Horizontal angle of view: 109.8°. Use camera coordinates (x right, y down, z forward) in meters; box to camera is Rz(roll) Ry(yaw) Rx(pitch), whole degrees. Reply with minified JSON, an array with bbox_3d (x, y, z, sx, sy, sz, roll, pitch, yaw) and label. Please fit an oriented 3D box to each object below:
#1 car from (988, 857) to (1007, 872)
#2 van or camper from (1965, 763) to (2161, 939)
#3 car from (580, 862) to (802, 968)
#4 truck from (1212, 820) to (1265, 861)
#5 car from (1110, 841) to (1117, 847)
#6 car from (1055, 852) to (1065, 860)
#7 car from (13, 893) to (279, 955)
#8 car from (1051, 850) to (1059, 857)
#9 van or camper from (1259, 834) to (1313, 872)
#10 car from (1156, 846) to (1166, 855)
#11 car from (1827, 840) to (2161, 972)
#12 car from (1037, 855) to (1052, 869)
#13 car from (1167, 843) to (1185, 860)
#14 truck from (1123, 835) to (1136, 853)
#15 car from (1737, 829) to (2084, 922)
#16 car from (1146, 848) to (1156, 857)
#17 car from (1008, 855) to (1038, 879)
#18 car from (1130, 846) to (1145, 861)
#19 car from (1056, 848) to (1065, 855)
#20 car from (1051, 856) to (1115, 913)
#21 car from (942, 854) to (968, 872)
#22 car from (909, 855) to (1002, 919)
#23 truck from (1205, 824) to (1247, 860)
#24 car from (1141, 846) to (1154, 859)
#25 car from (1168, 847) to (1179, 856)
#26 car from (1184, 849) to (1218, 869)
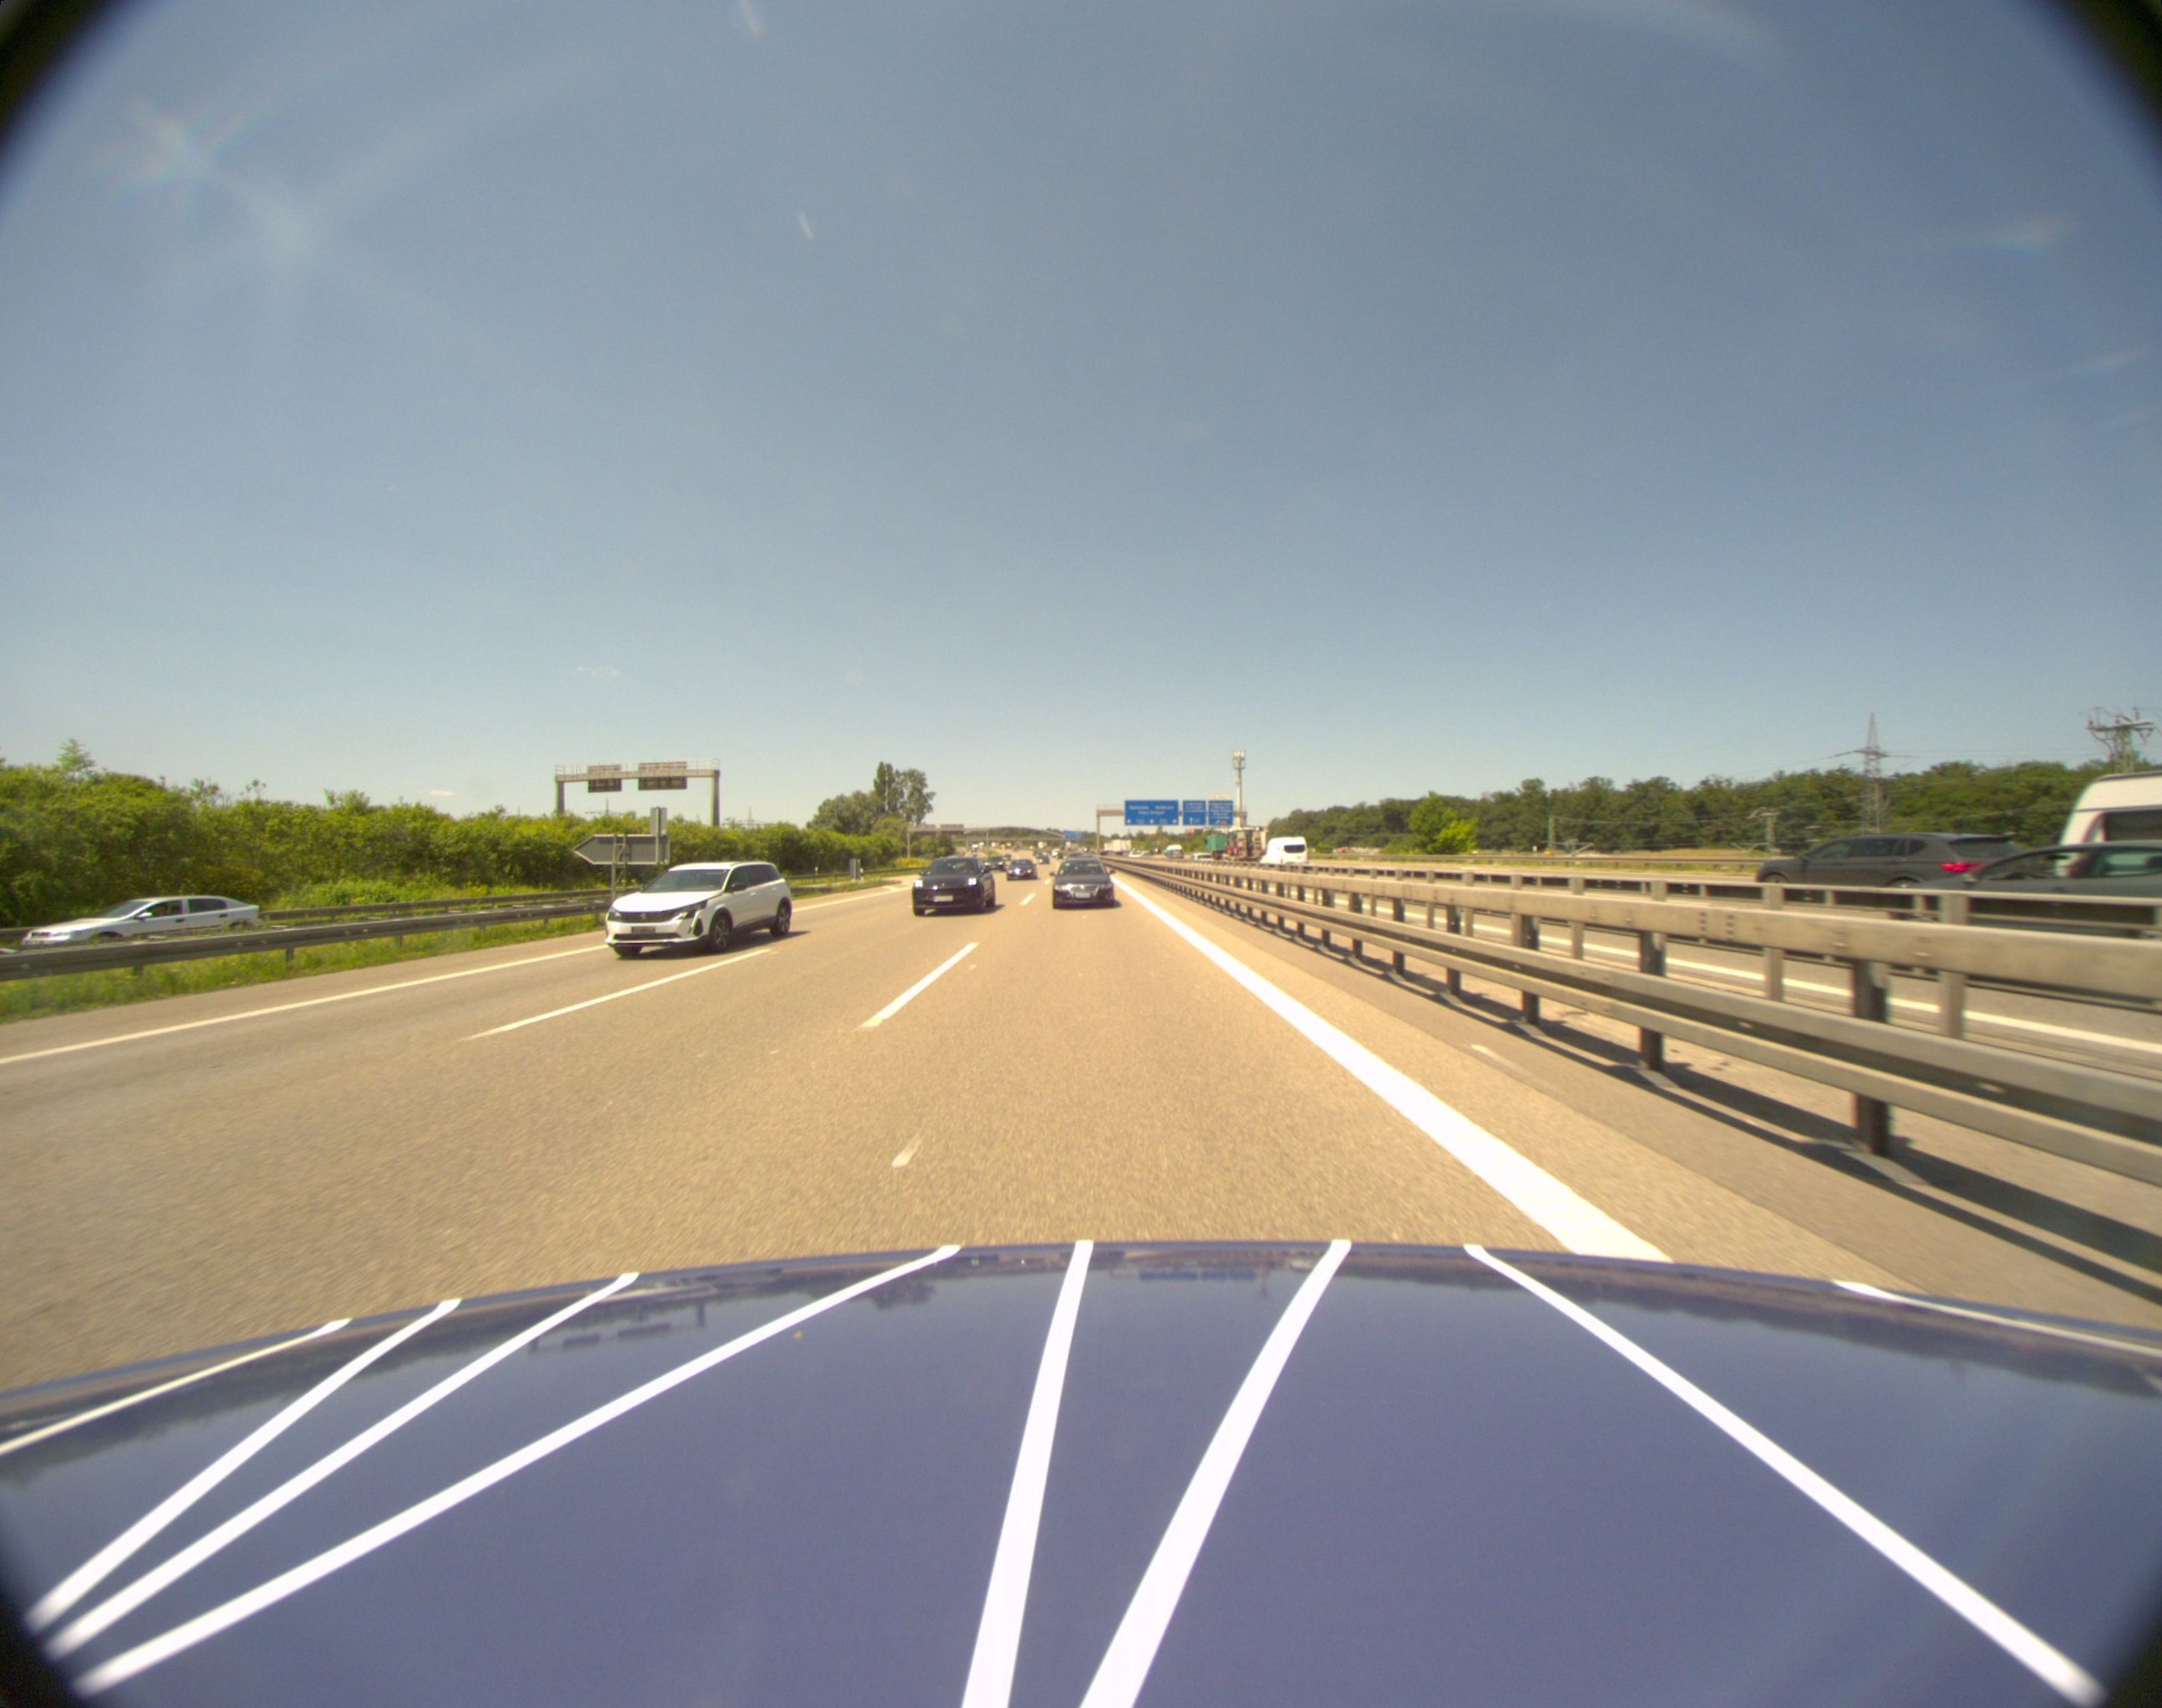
[{"bbox_3d":[-8.536,1.071,77.926,1.752,1.462,3.998,-2,1,-4],"label":"car"},{"bbox_3d":[17.307,-0.065,10.072,2.343,2.641,7.604,-1,0,0],"label":"van or camper"},{"bbox_3d":[-7.280,1.033,14.846,1.898,1.620,4.616,-2,0,0],"label":"car"},{"bbox_3d":[16.800,-1.362,82.045,3.394,3.959,12.241,-1,0,2],"label":"truck"},{"bbox_3d":[10.815,-3.383,252.259,1.998,2.002,4.320,-2,1,0],"label":"car"},{"bbox_3d":[-4.404,0.391,162.489,1.998,1.691,4.000,-2,0,0],"label":"car"},{"bbox_3d":[-24.998,1.824,20.573,1.896,1.272,4.081,-2,0,13],"label":"car"},{"bbox_3d":[-7.729,-0.156,224.466,1.998,2.002,4.000,-2,1,1],"label":"car"},{"bbox_3d":[13.449,-0.055,50.106,1.999,2.327,5.077,-2,0,-1],"label":"van or camper"},{"bbox_3d":[19.572,-0.794,185.916,1.998,2.002,3.999,-2,1,1],"label":"car"},{"bbox_3d":[13.756,0.591,10.542,1.998,1.500,4.888,-2,1,0],"label":"car"},{"bbox_3d":[-5.646,1.197,116.684,1.998,2.002,4.000,-2,0,0],"label":"car"},{"bbox_3d":[12.173,-0.343,97.186,1.785,2.169,4.000,-2,0,0],"label":"car"},{"bbox_3d":[12.186,-2.479,191.388,2.724,4.281,8.786,-2,0,0],"label":"truck"},{"bbox_3d":[17.385,0.391,16.450,2.071,1.649,4.993,-1,0,0],"label":"car"},{"bbox_3d":[16.267,-0.432,177.646,1.998,2.002,4.000,-2,1,1],"label":"car"},{"bbox_3d":[-3.834,0.829,50.660,1.752,1.462,3.999,-2,1,-1],"label":"car"},{"bbox_3d":[7.984,-0.025,106.881,1.785,2.023,4.000,-2,0,0],"label":"car"},{"bbox_3d":[-5.082,-0.571,191.373,1.999,1.691,3.998,-2,0,-5],"label":"car"},{"bbox_3d":[0.066,0.858,23.200,1.751,1.462,3.999,-2,1,0],"label":"car"},{"bbox_3d":[-15.055,1.033,91.052,1.998,2.002,4.765,-1,0,5],"label":"car"},{"bbox_3d":[-3.614,0.888,22.682,1.983,1.620,4.616,-2,0,0],"label":"car"},{"bbox_3d":[17.029,-1.362,89.899,3.426,3.901,8.582,-1,0,1],"label":"truck"},{"bbox_3d":[11.390,-0.259,130.485,1.998,2.002,4.000,-2,0,0],"label":"car"},{"bbox_3d":[20.649,-0.599,169.947,1.998,2.002,3.999,-2,1,0],"label":"car"},{"bbox_3d":[9.069,0.361,57.791,1.785,1.457,3.999,-2,0,-1],"label":"car"}]
